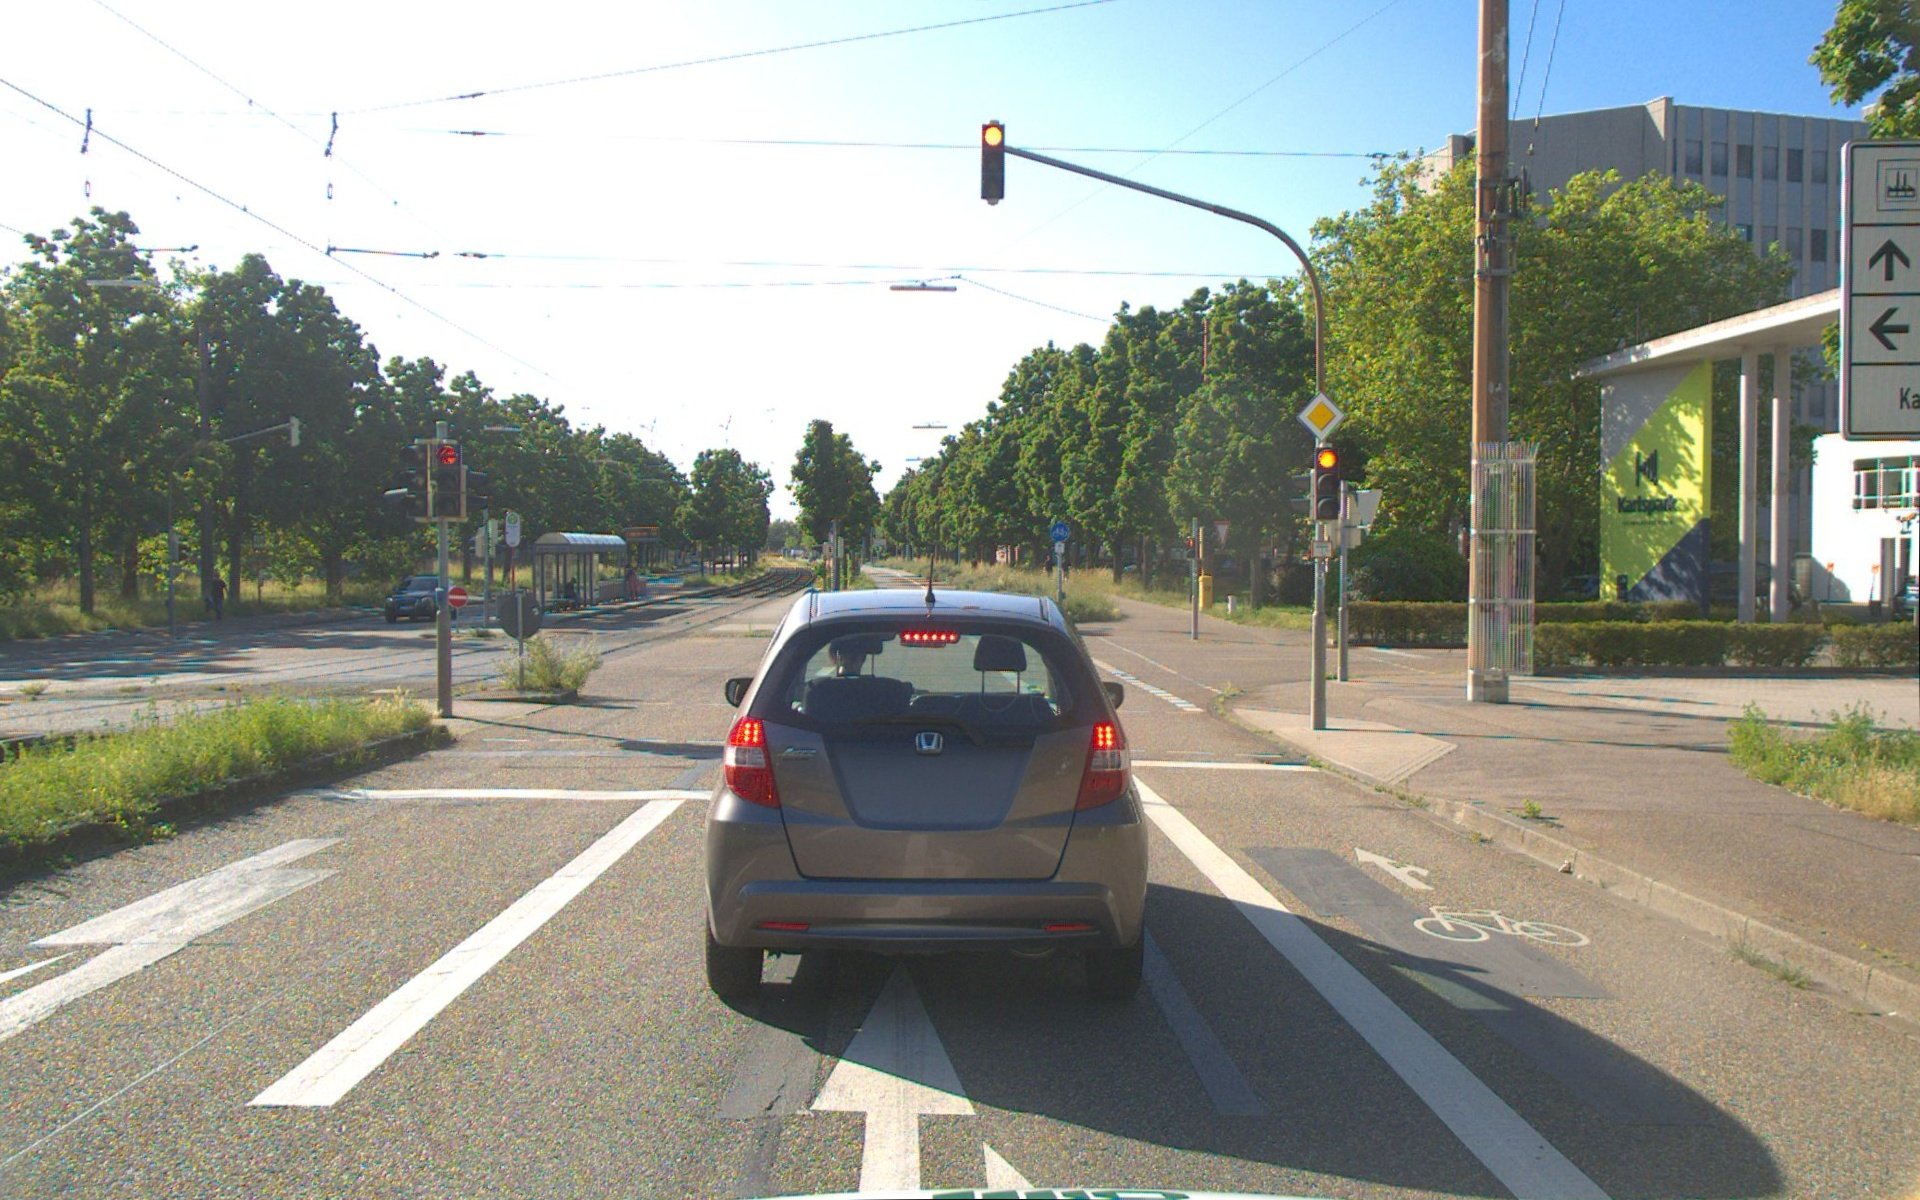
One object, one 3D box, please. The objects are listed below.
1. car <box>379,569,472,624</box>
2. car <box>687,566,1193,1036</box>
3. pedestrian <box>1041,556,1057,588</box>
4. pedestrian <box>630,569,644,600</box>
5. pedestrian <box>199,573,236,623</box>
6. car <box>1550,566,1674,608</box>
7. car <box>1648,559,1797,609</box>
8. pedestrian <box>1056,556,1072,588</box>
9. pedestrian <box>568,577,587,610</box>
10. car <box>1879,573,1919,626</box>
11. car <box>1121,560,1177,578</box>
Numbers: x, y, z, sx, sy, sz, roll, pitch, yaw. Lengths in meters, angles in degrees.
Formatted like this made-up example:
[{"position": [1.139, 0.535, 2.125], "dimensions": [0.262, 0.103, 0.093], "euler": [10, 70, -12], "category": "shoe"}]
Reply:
[{"position": [-20.038, -0.164, 62.233], "dimensions": [2.052, 1.841, 4.791], "euler": [-2, 2, -3], "category": "car"}, {"position": [-0.089, 0.665, 7.351], "dimensions": [1.666, 1.550, 3.709], "euler": [1, 0, -1], "category": "car"}, {"position": [5.368, -1.684, 99.604], "dimensions": [0.865, 1.917, 0.875], "euler": [0, 1, -5], "category": "pedestrian"}, {"position": [-15.585, -0.766, 79.858], "dimensions": [0.533, 1.473, 0.559], "euler": [-1, 0, -1], "category": "pedestrian"}, {"position": [-26.503, -0.084, 59.056], "dimensions": [0.744, 1.764, 0.936], "euler": [0, 1, 27], "category": "pedestrian"}, {"position": [26.635, -0.545, 67.606], "dimensions": [4.371, 1.715, 1.892], "euler": [0, 1, -7], "category": "car"}, {"position": [28.000, -0.612, 60.764], "dimensions": [4.803, 1.787, 2.083], "euler": [0, 1, -16], "category": "car"}, {"position": [6.282, -1.670, 99.715], "dimensions": [0.865, 1.917, 0.875], "euler": [0, 1, -5], "category": "pedestrian"}, {"position": [-15.095, -0.265, 65.304], "dimensions": [0.552, 1.279, 0.580], "euler": [-2, 0, -2], "category": "pedestrian"}, {"position": [30.632, -0.019, 50.737], "dimensions": [3.914, 1.605, 1.950], "euler": [0, 1, -10], "category": "car"}, {"position": [16.560, -2.737, 144.816], "dimensions": [4.543, 1.582, 1.997], "euler": [-1, 1, -7], "category": "car"}]
